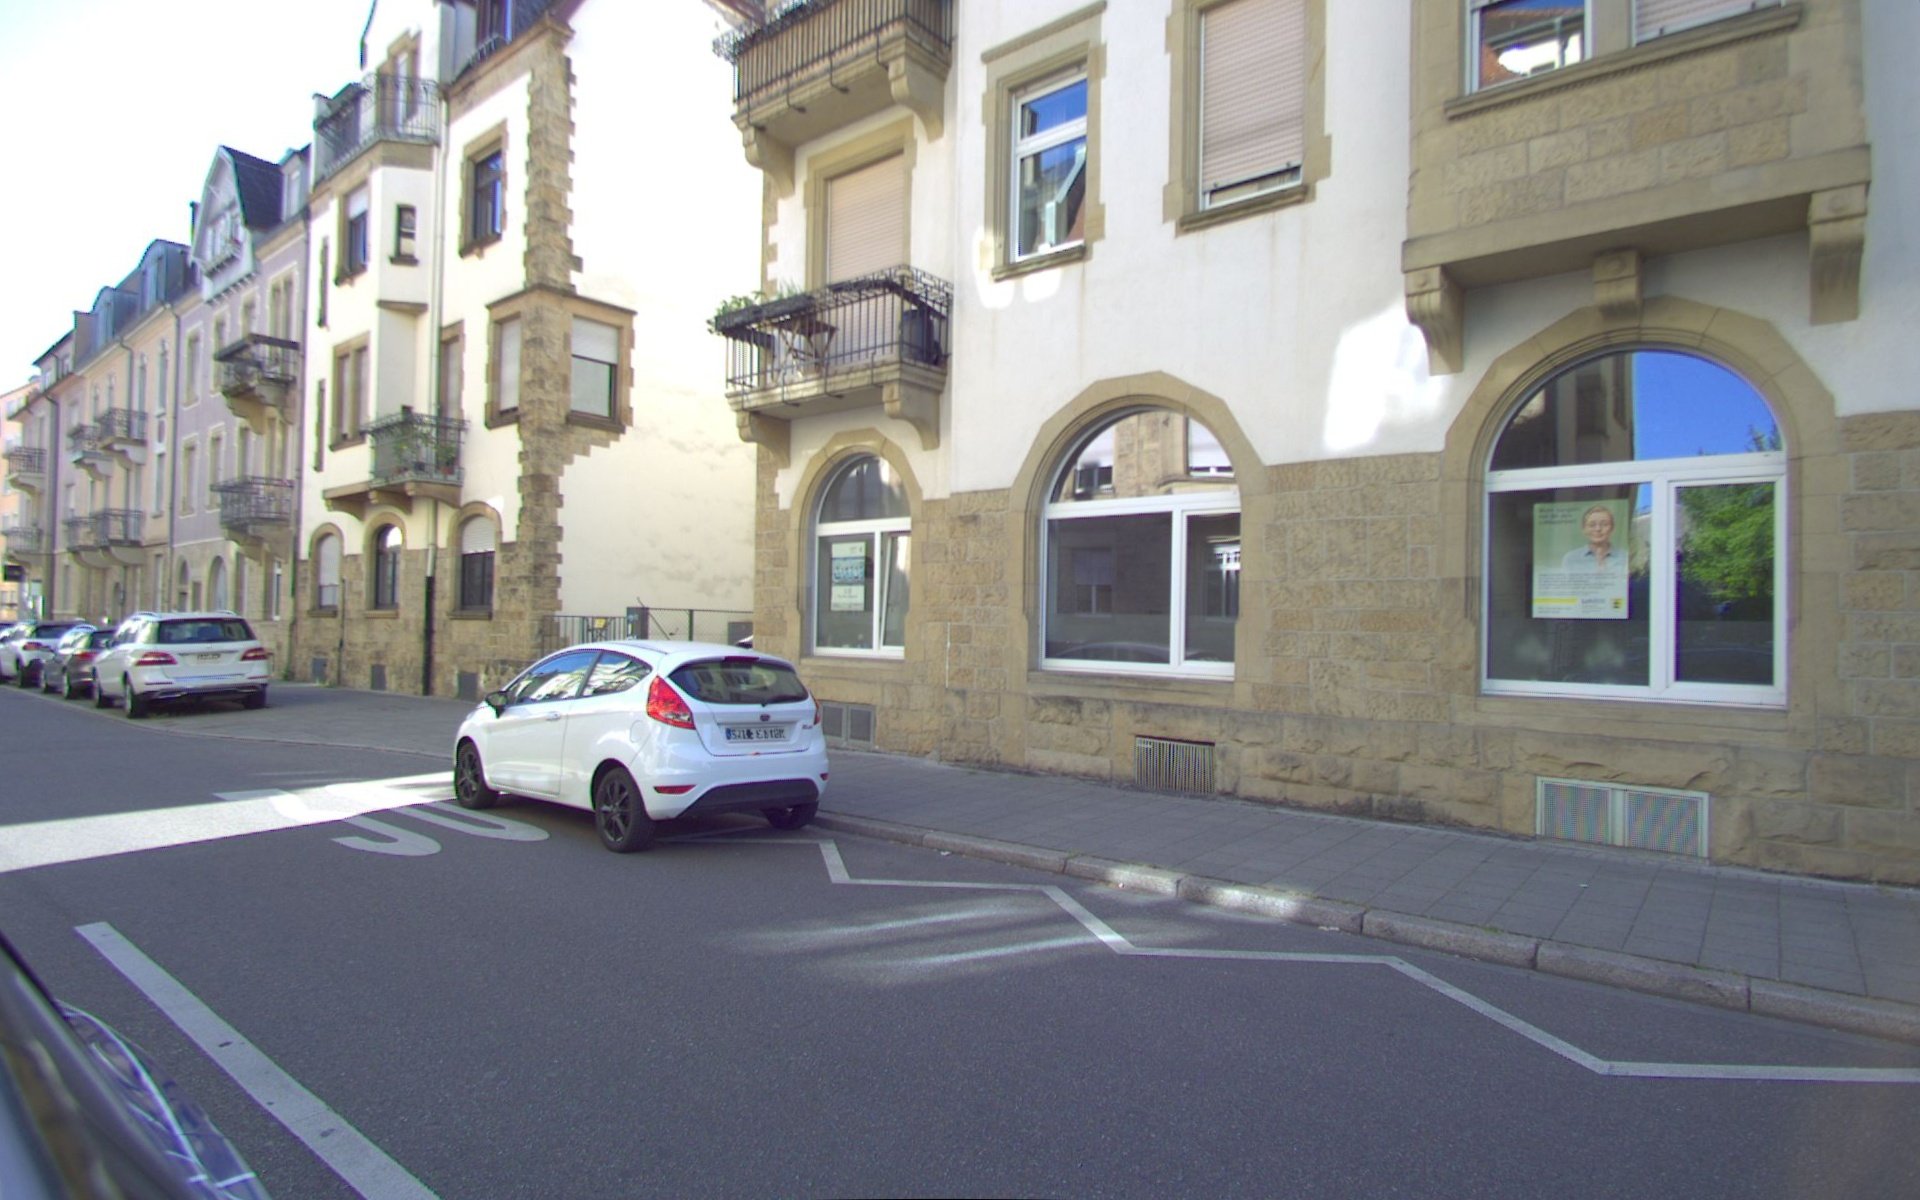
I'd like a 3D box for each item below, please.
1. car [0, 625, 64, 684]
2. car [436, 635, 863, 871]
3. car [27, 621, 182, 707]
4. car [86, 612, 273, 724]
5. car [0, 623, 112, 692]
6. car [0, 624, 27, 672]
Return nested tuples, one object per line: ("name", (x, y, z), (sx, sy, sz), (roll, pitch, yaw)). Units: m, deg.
("car", (-27.150, 1.512, 28.876), (4.317, 1.511, 1.833), (-1, 0, 41))
("car", (-2.628, 1.043, 8.176), (3.642, 1.469, 1.634), (-2, -5, 42))
("car", (-18.439, 1.287, 21.755), (4.319, 1.519, 1.866), (-1, 2, 41))
("car", (-13.957, 1.096, 18.009), (4.209, 1.740, 1.866), (-1, 0, 41))
("car", (-22.942, 1.379, 25.437), (4.319, 1.520, 1.866), (-1, 0, 41))
("car", (-33.133, 1.602, 34.225), (4.319, 1.520, 1.866), (-1, 0, 41))
